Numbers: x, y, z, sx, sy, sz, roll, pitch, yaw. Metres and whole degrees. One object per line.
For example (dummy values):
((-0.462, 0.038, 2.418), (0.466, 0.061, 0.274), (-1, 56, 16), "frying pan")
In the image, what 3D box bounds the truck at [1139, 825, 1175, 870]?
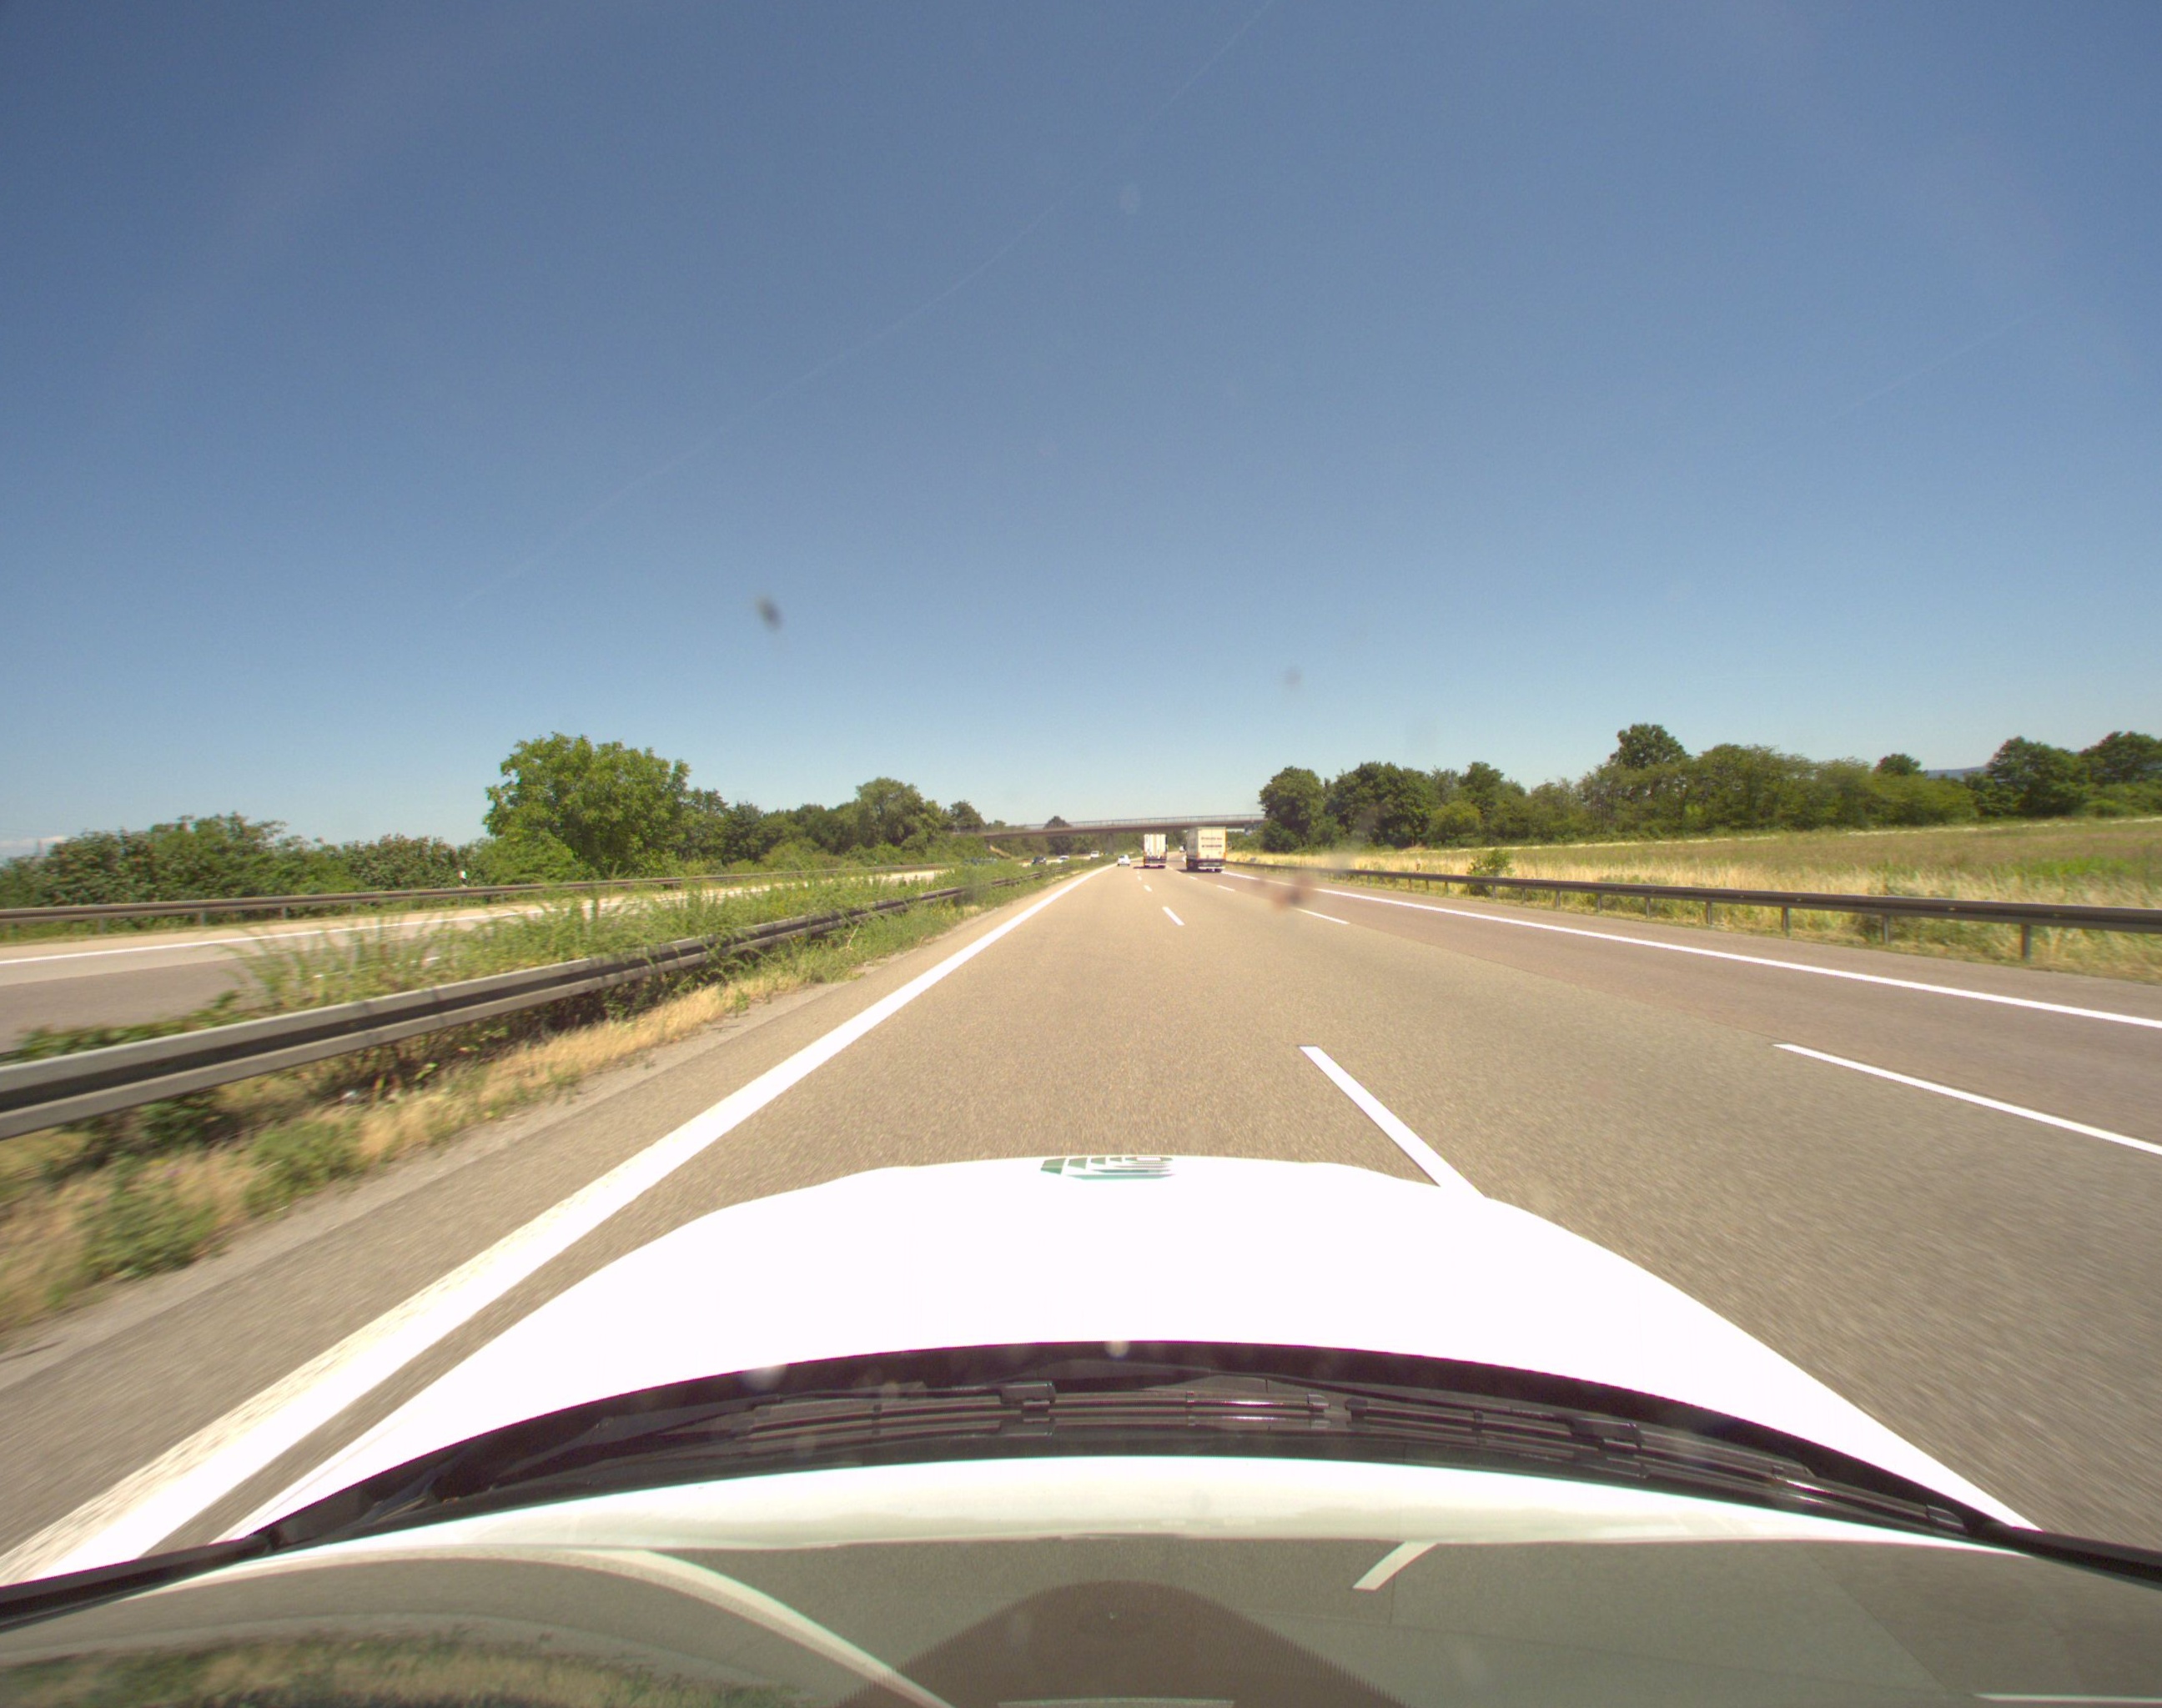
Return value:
((9.028, -0.802, 98.586), (3.651, 5.018, 16.032), (-1, 1, 3), "truck")

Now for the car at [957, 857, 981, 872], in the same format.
((-12.343, 1.138, 90.237), (1.775, 1.661, 4.660), (-1, 0, 2), "car")

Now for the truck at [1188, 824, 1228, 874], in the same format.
((12.154, -0.503, 79.206), (3.164, 4.304, 16.047), (-1, 1, 7), "truck")

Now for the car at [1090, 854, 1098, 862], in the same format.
((3.353, 1.099, 208.162), (1.819, 2.013, 5.337), (0, 0, 5), "car")

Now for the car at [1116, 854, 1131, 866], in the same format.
((5.912, 0.819, 113.392), (1.818, 1.547, 4.328), (0, 0, 8), "car")
